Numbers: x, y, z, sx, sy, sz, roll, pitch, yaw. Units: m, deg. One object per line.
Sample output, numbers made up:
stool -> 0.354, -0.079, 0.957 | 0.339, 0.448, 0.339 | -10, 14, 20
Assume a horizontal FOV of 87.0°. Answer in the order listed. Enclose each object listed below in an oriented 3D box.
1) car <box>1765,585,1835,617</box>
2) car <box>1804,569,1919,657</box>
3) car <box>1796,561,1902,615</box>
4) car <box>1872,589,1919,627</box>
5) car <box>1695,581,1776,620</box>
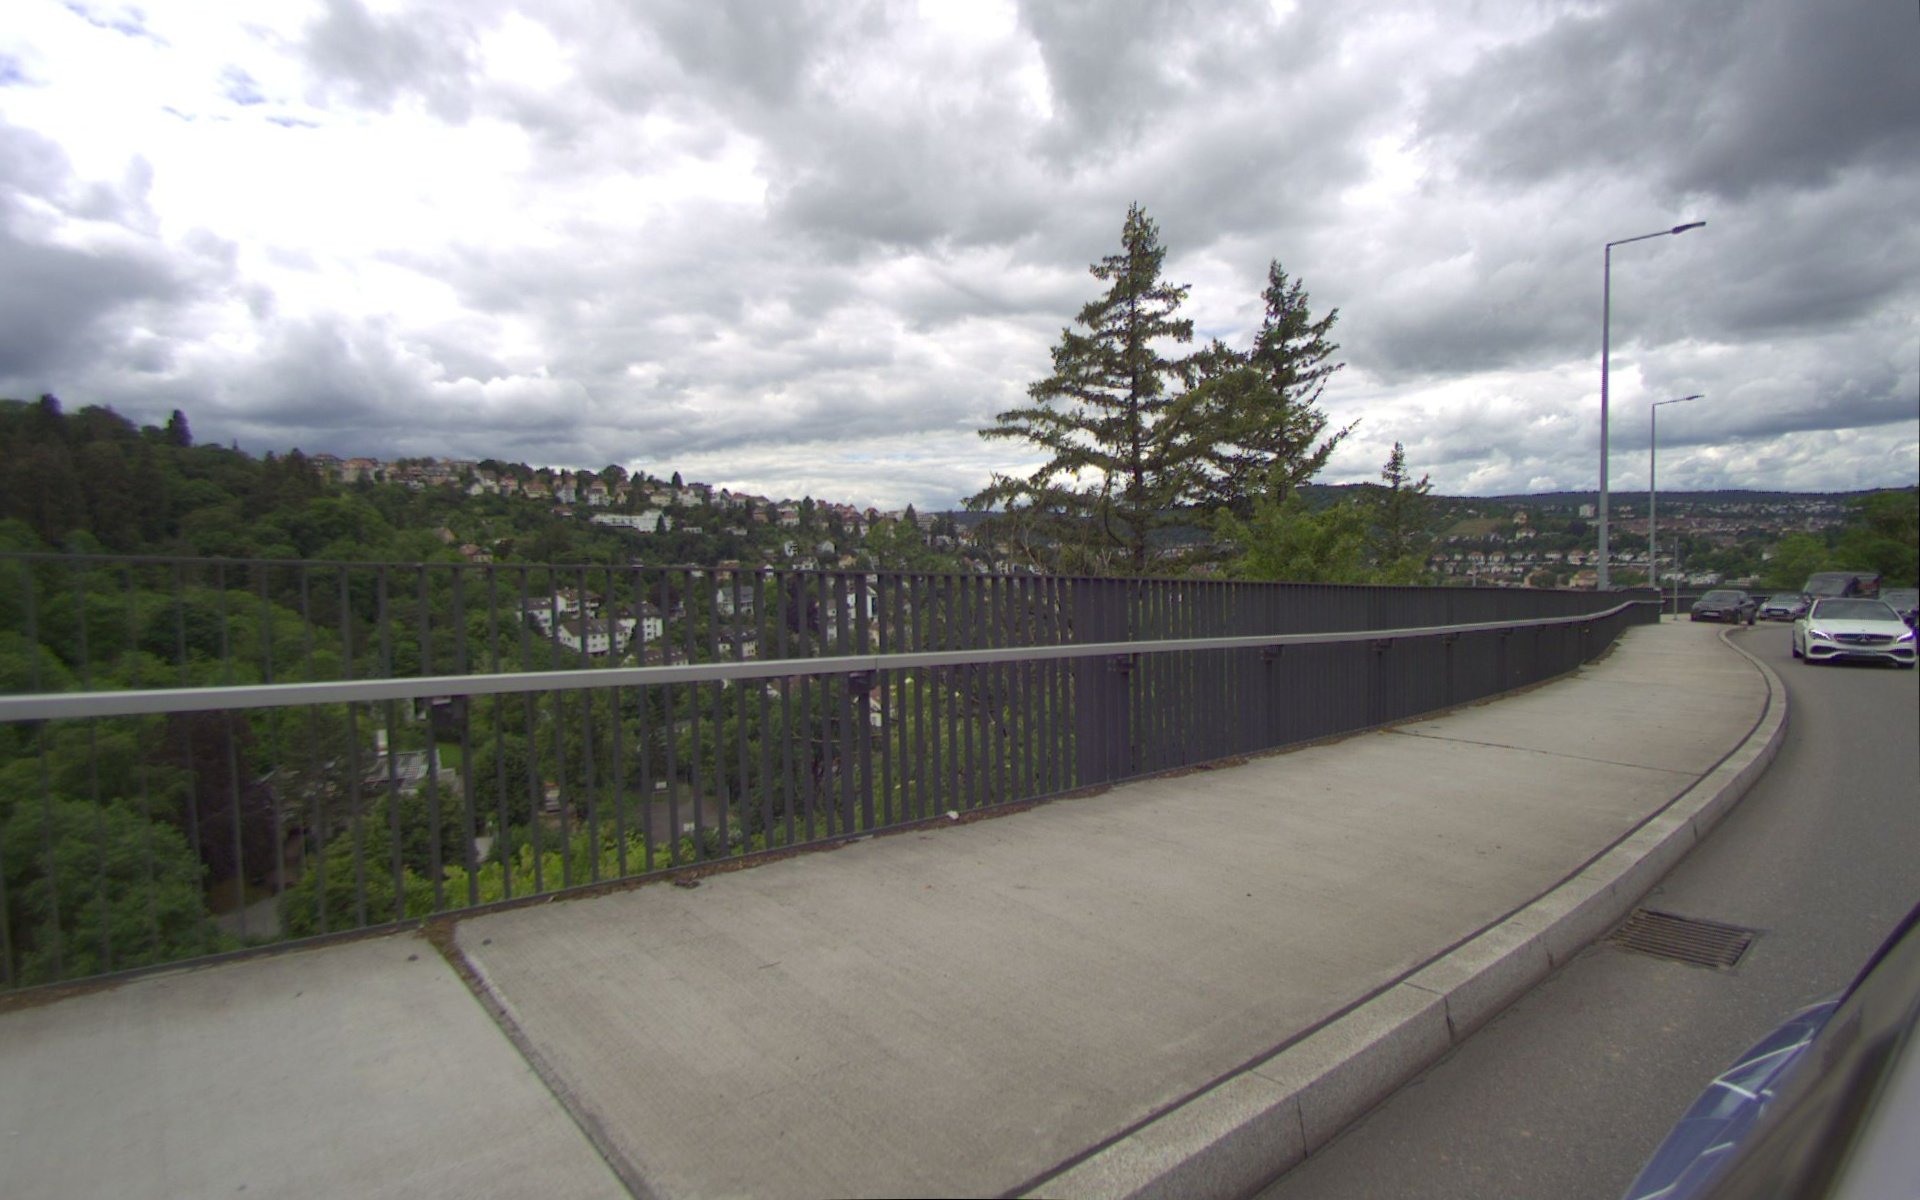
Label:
car -> 41.194, 0.014, 49.612 | 3.778, 1.448, 1.720 | 0, 4, -36
car -> 19.798, 0.321, 22.138 | 1.991, 1.740, 3.941 | 2, -1, 40
car -> 46.299, -0.608, 52.707 | 5.654, 2.551, 2.179 | 0, 5, -29
car -> 44.867, 0.352, 47.506 | 4.450, 1.692, 2.001 | 0, 1, -34
car -> 33.760, 0.004, 44.028 | 4.016, 1.562, 1.880 | -1, 3, -39
